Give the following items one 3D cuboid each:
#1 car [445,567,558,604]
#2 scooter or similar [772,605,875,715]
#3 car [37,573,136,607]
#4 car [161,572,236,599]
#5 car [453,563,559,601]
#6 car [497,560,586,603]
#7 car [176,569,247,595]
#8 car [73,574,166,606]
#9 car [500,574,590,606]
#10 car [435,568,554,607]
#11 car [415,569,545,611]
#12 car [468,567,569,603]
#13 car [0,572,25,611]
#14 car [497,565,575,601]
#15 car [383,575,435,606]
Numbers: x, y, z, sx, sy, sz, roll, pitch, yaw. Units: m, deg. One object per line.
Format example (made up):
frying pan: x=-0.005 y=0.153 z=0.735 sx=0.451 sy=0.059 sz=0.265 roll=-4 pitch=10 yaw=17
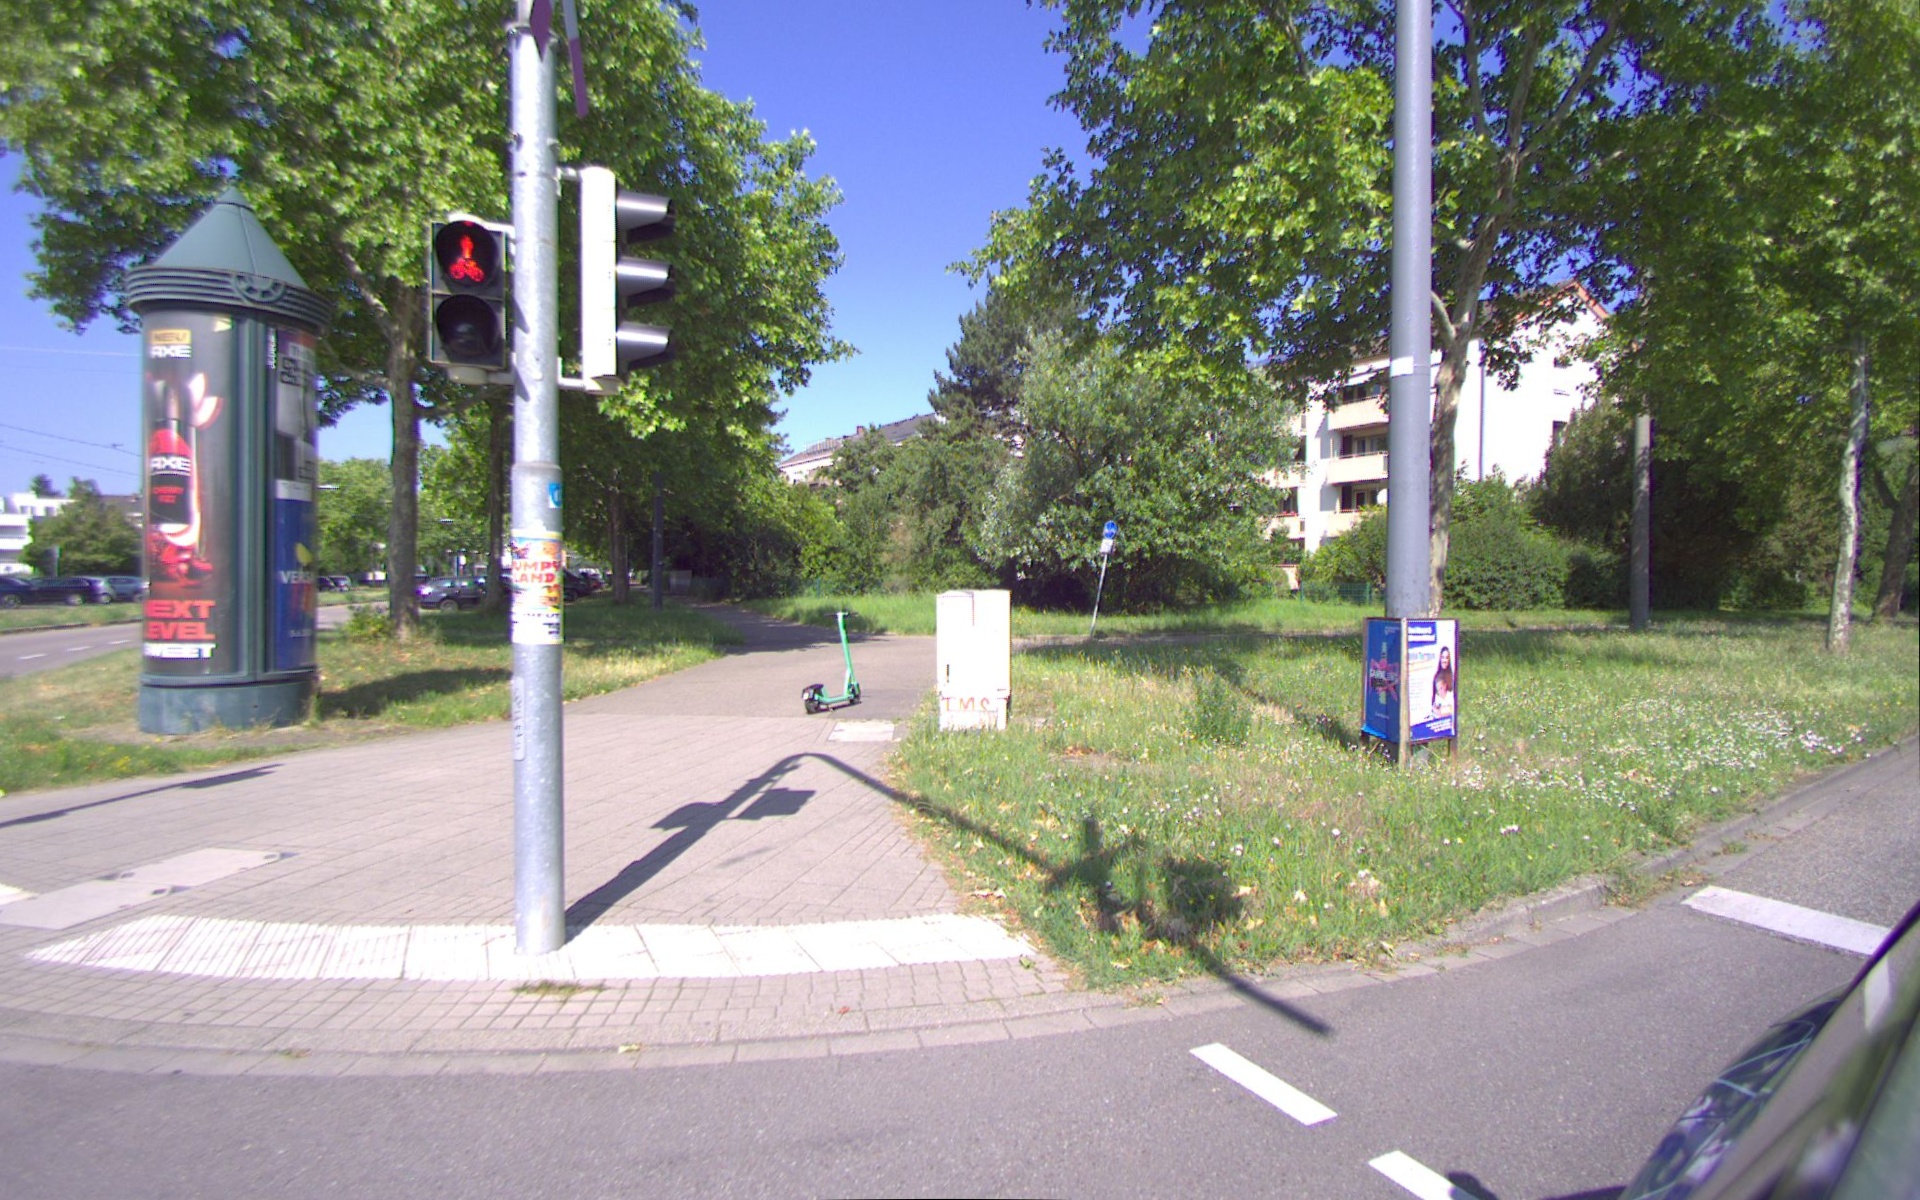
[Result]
car: x=-19.504 y=-0.634 z=43.051 sx=4.266 sy=1.509 sz=2.003 roll=0 pitch=1 yaw=-27
scooter or similar: x=-1.578 y=0.667 z=11.944 sx=0.511 sy=1.156 sz=1.435 roll=-1 pitch=1 yaw=24
car: x=-48.169 y=-0.535 z=55.835 sx=1.993 sy=1.816 sz=3.938 roll=-1 pitch=0 yaw=43
car: x=-53.983 y=-1.036 z=71.766 sx=1.993 sy=1.816 sz=3.938 roll=-1 pitch=0 yaw=43
car: x=-20.407 y=-0.789 z=45.523 sx=4.266 sy=1.653 sz=2.003 roll=0 pitch=0 yaw=-27
car: x=-23.261 y=-1.034 z=56.384 sx=4.494 sy=2.318 sz=2.004 roll=0 pitch=1 yaw=-22
car: x=-55.181 y=-1.312 z=74.626 sx=1.993 sy=1.816 sz=3.938 roll=0 pitch=1 yaw=43
car: x=-48.822 y=-0.584 z=58.840 sx=1.993 sy=1.816 sz=3.938 roll=-1 pitch=0 yaw=43
car: x=-21.922 y=-0.542 z=53.451 sx=4.266 sy=1.653 sz=2.003 roll=0 pitch=1 yaw=-27
car: x=-18.714 y=-0.525 z=40.747 sx=4.266 sy=1.509 sz=2.003 roll=0 pitch=1 yaw=-27
car: x=-17.888 y=-0.410 z=37.793 sx=4.266 sy=1.509 sz=2.003 roll=-1 pitch=2 yaw=-27
car: x=-20.854 y=-0.719 z=47.803 sx=4.266 sy=1.653 sz=2.003 roll=0 pitch=1 yaw=-27
car: x=-45.801 y=-0.377 z=46.574 sx=1.993 sy=1.816 sz=3.938 roll=-1 pitch=0 yaw=43
car: x=-27.045 y=-1.109 z=64.587 sx=4.496 sy=2.236 sz=2.003 roll=0 pitch=1 yaw=-27
car: x=-30.425 y=-0.508 z=55.981 sx=1.756 sy=1.676 sz=4.008 roll=0 pitch=0 yaw=-18
